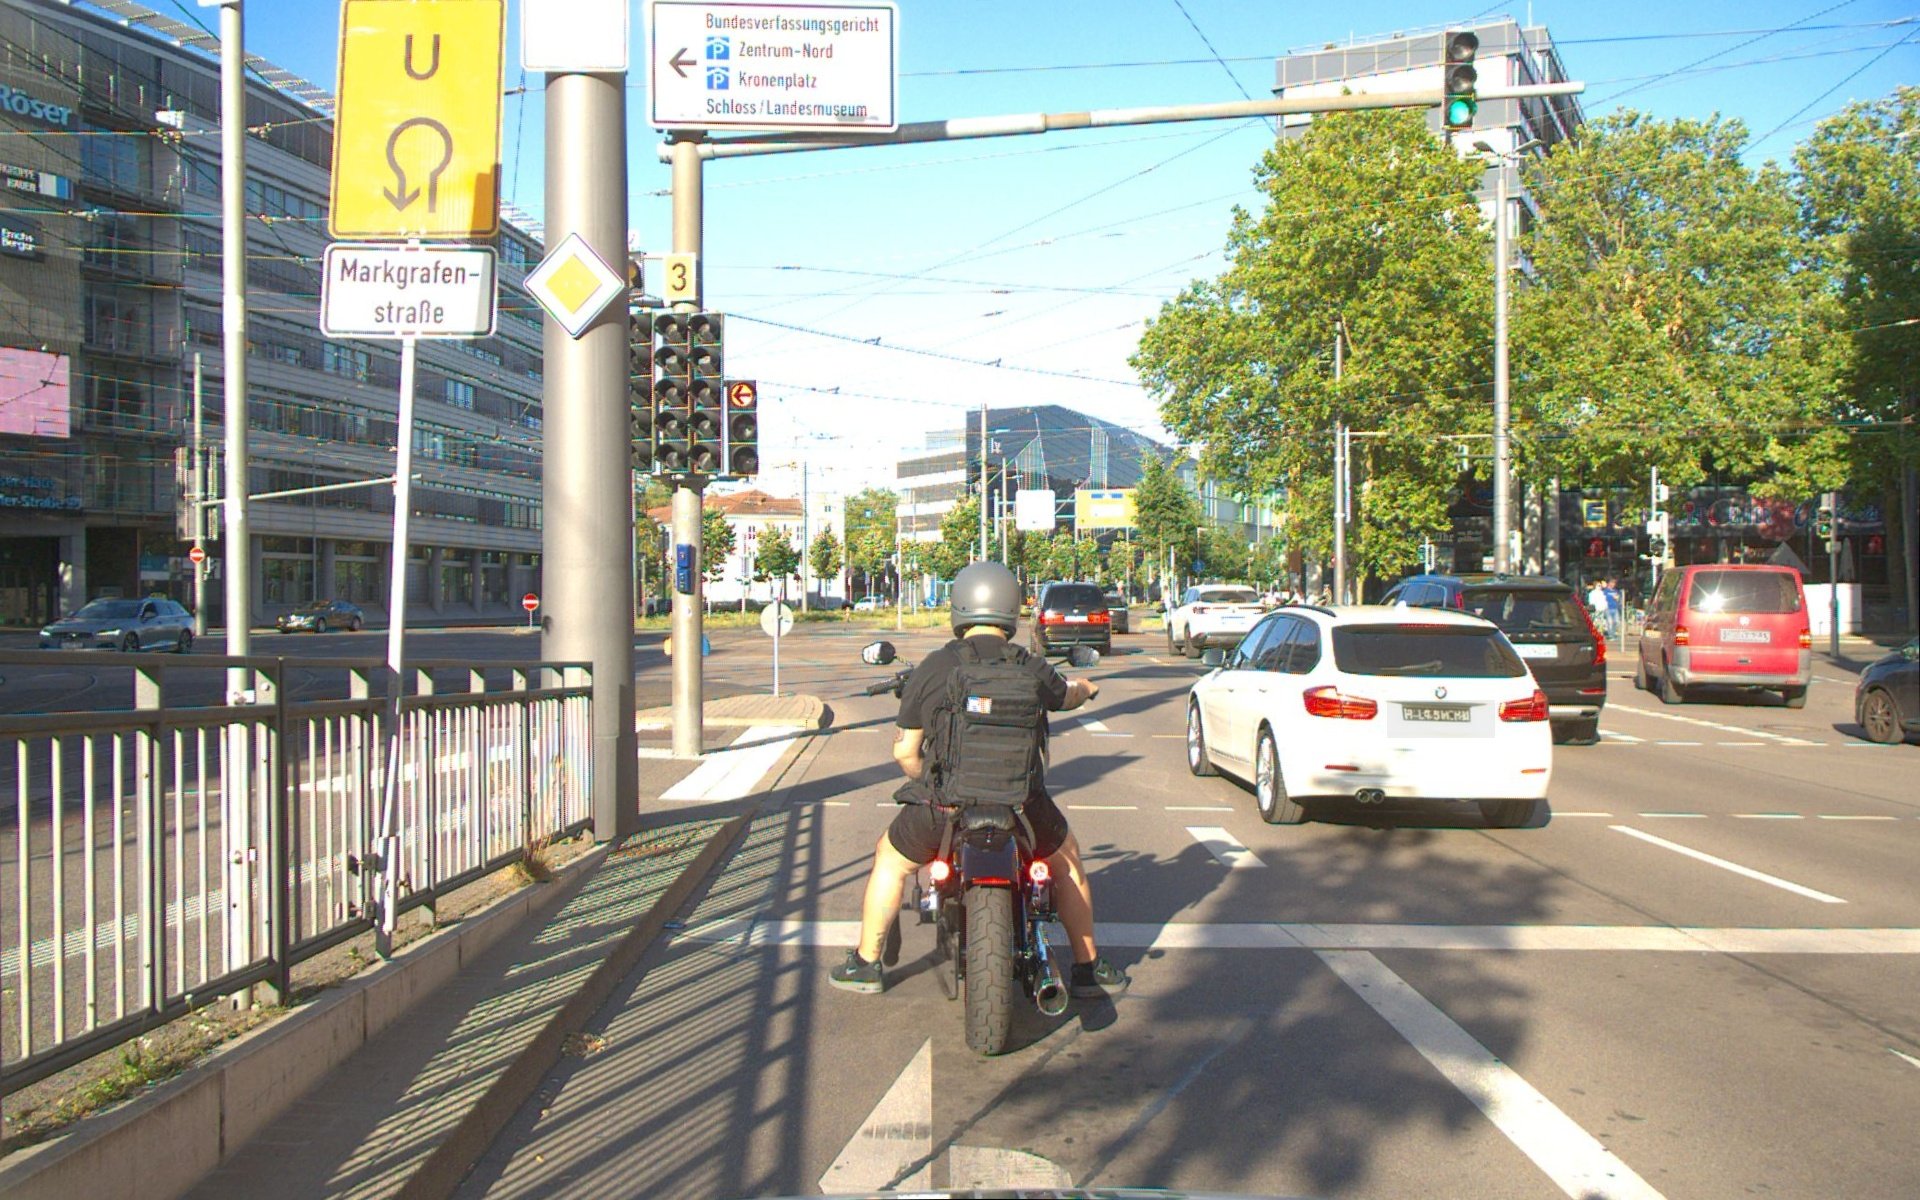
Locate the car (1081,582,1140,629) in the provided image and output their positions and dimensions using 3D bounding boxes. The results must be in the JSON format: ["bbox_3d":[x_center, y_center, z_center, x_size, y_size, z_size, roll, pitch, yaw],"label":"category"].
[{"bbox_3d":[5.811,0.232,64.238,1.767,1.708,4.039,1,-1,-2],"label":"car"}]

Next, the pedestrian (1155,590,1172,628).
[{"bbox_3d":[8.512,0.386,69.032,0.576,1.584,0.488,1,-1,-9],"label":"pedestrian"}]

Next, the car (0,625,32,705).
[{"bbox_3d":[-14.532,0.879,22.828,2.835,1.081,1.235,1,-1,-22],"label":"car"}]

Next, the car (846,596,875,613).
[{"bbox_3d":[-8.446,0.369,141.122,1.786,1.455,4.533,0,0,5],"label":"car"}]

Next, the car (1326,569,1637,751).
[{"bbox_3d":[5.645,0.611,18.561,1.698,1.762,4.607,1,-1,-5],"label":"car"}]

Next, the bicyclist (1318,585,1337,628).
[{"bbox_3d":[14.629,0.255,65.869,0.673,1.702,0.541,0,-1,18],"label":"bicyclist"}]

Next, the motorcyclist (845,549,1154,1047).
[{"bbox_3d":[0.124,0.644,5.847,1.009,1.621,0.873,0,0,-1],"label":"motorcyclist"}]

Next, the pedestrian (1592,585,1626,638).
[{"bbox_3d":[18.589,0.338,47.380,0.558,1.505,0.697,1,-1,-25],"label":"pedestrian"}]

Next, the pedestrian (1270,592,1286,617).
[{"bbox_3d":[17.601,0.241,91.540,0.802,1.337,0.638,1,-1,8],"label":"pedestrian"}]

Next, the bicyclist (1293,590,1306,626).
[{"bbox_3d":[13.384,0.316,65.264,0.374,1.397,0.344,0,-1,37],"label":"bicyclist"}]

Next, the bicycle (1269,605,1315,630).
[{"bbox_3d":[13.135,0.680,65.469,1.796,0.942,0.356,1,-1,38],"label":"bicycle"}]

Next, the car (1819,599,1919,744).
[{"bbox_3d":[10.822,0.773,16.916,1.698,1.475,4.037,1,0,-5],"label":"car"}]

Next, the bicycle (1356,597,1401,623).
[{"bbox_3d":[18.069,0.429,71.403,1.842,1.064,0.360,1,0,-2],"label":"bicycle"}]

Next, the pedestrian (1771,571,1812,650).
[{"bbox_3d":[20.661,0.267,41.102,0.774,1.931,0.817,1,-1,19],"label":"pedestrian"}]

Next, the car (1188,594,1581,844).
[{"bbox_3d":[2.872,0.739,12.203,1.696,1.482,4.417,1,-1,-1],"label":"car"}]

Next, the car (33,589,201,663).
[{"bbox_3d":[-19.519,0.580,38.526,1.789,1.596,4.690,-1,0,-4],"label":"car"}]

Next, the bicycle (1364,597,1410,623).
[{"bbox_3d":[18.121,0.430,70.253,1.842,1.064,0.360,1,0,-2],"label":"bicycle"}]

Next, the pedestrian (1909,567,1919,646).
[{"bbox_3d":[21.387,0.153,36.512,0.626,1.729,0.723,1,-1,19],"label":"pedestrian"}]

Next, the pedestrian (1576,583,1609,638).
[{"bbox_3d":[18.037,0.306,47.190,0.558,1.559,0.697,1,-1,-23],"label":"pedestrian"}]

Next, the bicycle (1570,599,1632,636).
[{"bbox_3d":[22.241,0.596,57.403,2.001,1.235,0.421,1,-1,-1],"label":"bicycle"}]

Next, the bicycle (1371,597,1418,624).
[{"bbox_3d":[18.199,0.442,69.269,1.842,1.064,0.360,1,-1,-2],"label":"bicycle"}]

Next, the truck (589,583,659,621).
[{"bbox_3d":[-18.125,0.105,89.548,1.951,1.912,5.160,-3,-1,9],"label":"truck"}]

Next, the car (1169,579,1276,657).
[{"bbox_3d":[5.836,0.363,37.204,1.696,1.626,4.040,1,1,-1],"label":"car"}]

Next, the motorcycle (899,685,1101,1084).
[{"bbox_3d":[0.104,0.911,6.075,0.588,1.054,2.233,1,0,-1],"label":"motorcycle"}]

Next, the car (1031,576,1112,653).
[{"bbox_3d":[2.599,0.349,39.317,1.766,1.708,4.042,1,-1,2],"label":"car"}]

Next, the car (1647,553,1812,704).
[{"bbox_3d":[11.362,0.408,24.688,1.766,2.044,4.474,-1,-1,19],"label":"car"}]

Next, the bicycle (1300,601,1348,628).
[{"bbox_3d":[14.512,0.577,65.902,1.831,1.062,0.537,0,-1,18],"label":"bicycle"}]
